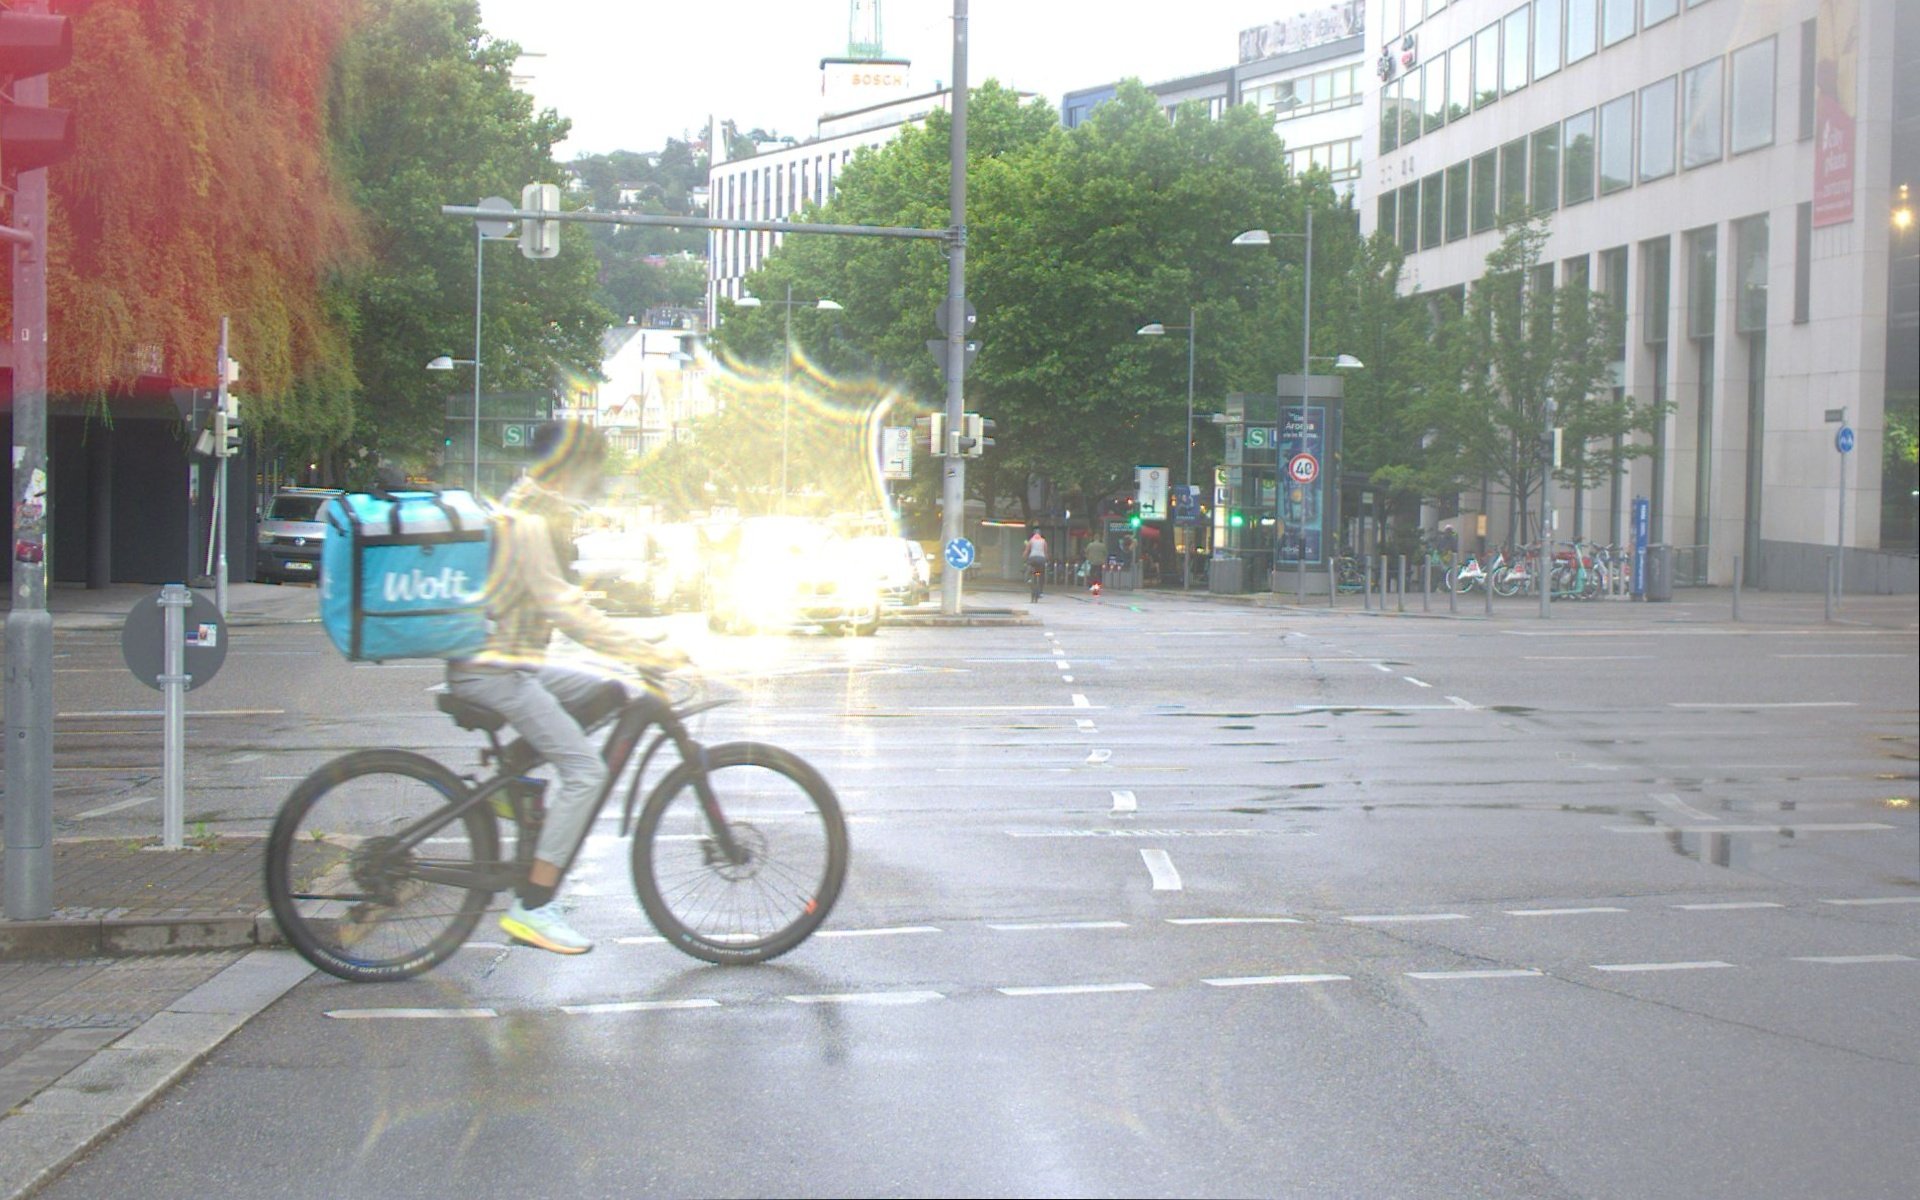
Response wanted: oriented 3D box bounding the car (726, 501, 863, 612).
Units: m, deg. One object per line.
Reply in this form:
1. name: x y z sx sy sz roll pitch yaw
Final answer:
1. car: -2.720 -0.736 55.581 1.963 1.649 4.365 0 3 -6

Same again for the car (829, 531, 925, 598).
1. car: -1.906 -0.824 77.662 1.993 1.439 4.556 0 1 -3

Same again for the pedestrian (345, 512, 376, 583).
1. pedestrian: -13.038 -1.145 74.726 0.607 1.518 0.588 0 1 -5

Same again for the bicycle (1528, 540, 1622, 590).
1. bicycle: 11.837 -0.673 66.194 1.799 0.931 0.474 2 2 41

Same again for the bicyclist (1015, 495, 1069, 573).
1. bicyclist: 2.050 -1.662 86.402 0.791 1.968 1.114 0 1 -41

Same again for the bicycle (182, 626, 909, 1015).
1. bicycle: -1.314 0.655 10.999 2.145 1.099 0.848 0 1 -29

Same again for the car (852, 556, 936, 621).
1. car: -1.755 -0.334 90.654 1.993 1.524 4.557 0 3 -4

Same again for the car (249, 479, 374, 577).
1. car: -12.912 -1.450 68.668 1.993 1.888 4.466 0 1 -5

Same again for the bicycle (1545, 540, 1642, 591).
1. bicycle: 12.011 -0.657 65.228 1.799 0.931 0.474 2 2 41

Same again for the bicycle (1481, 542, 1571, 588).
1. bicycle: 11.736 -0.734 71.268 1.794 0.931 0.475 0 1 3

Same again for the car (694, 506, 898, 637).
1. car: -2.138 -0.404 43.603 1.993 1.481 4.466 -1 3 -10

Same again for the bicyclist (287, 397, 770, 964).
1. bicyclist: -1.382 0.228 10.985 1.294 1.698 0.848 0 1 -31

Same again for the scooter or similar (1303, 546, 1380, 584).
1. scooter or similar: 8.892 -0.820 80.170 1.745 0.875 0.489 0 1 -19

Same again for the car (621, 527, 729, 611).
1. car: -5.392 -0.610 64.679 1.856 1.443 4.622 0 2 -7

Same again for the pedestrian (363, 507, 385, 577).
1. pedestrian: -12.767 -1.262 74.885 0.436 1.518 0.548 0 1 -5

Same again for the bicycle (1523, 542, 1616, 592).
1. bicycle: 11.865 -0.649 66.940 1.799 0.931 0.474 2 2 41

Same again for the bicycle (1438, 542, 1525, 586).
1. bicycle: 11.085 -0.770 73.116 1.794 0.931 0.475 0 1 3

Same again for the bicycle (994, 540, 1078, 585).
1. bicycle: 1.899 -0.949 86.604 0.791 1.113 2.255 0 2 -41

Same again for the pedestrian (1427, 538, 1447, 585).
1. pedestrian: 11.922 -0.973 85.893 0.352 1.169 0.415 0 1 -15

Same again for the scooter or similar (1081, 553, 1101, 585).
1. scooter or similar: 4.169 -0.998 109.427 0.556 1.003 1.824 0 1 4

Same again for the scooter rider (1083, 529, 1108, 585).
1. scooter rider: 4.320 -1.370 109.322 0.762 1.768 0.796 0 1 4

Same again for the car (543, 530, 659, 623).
1. car: -6.037 -0.423 58.057 1.856 1.443 4.622 0 2 -5

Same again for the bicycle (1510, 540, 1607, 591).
1. bicycle: 11.246 -0.646 64.586 1.799 0.931 0.474 2 2 41
